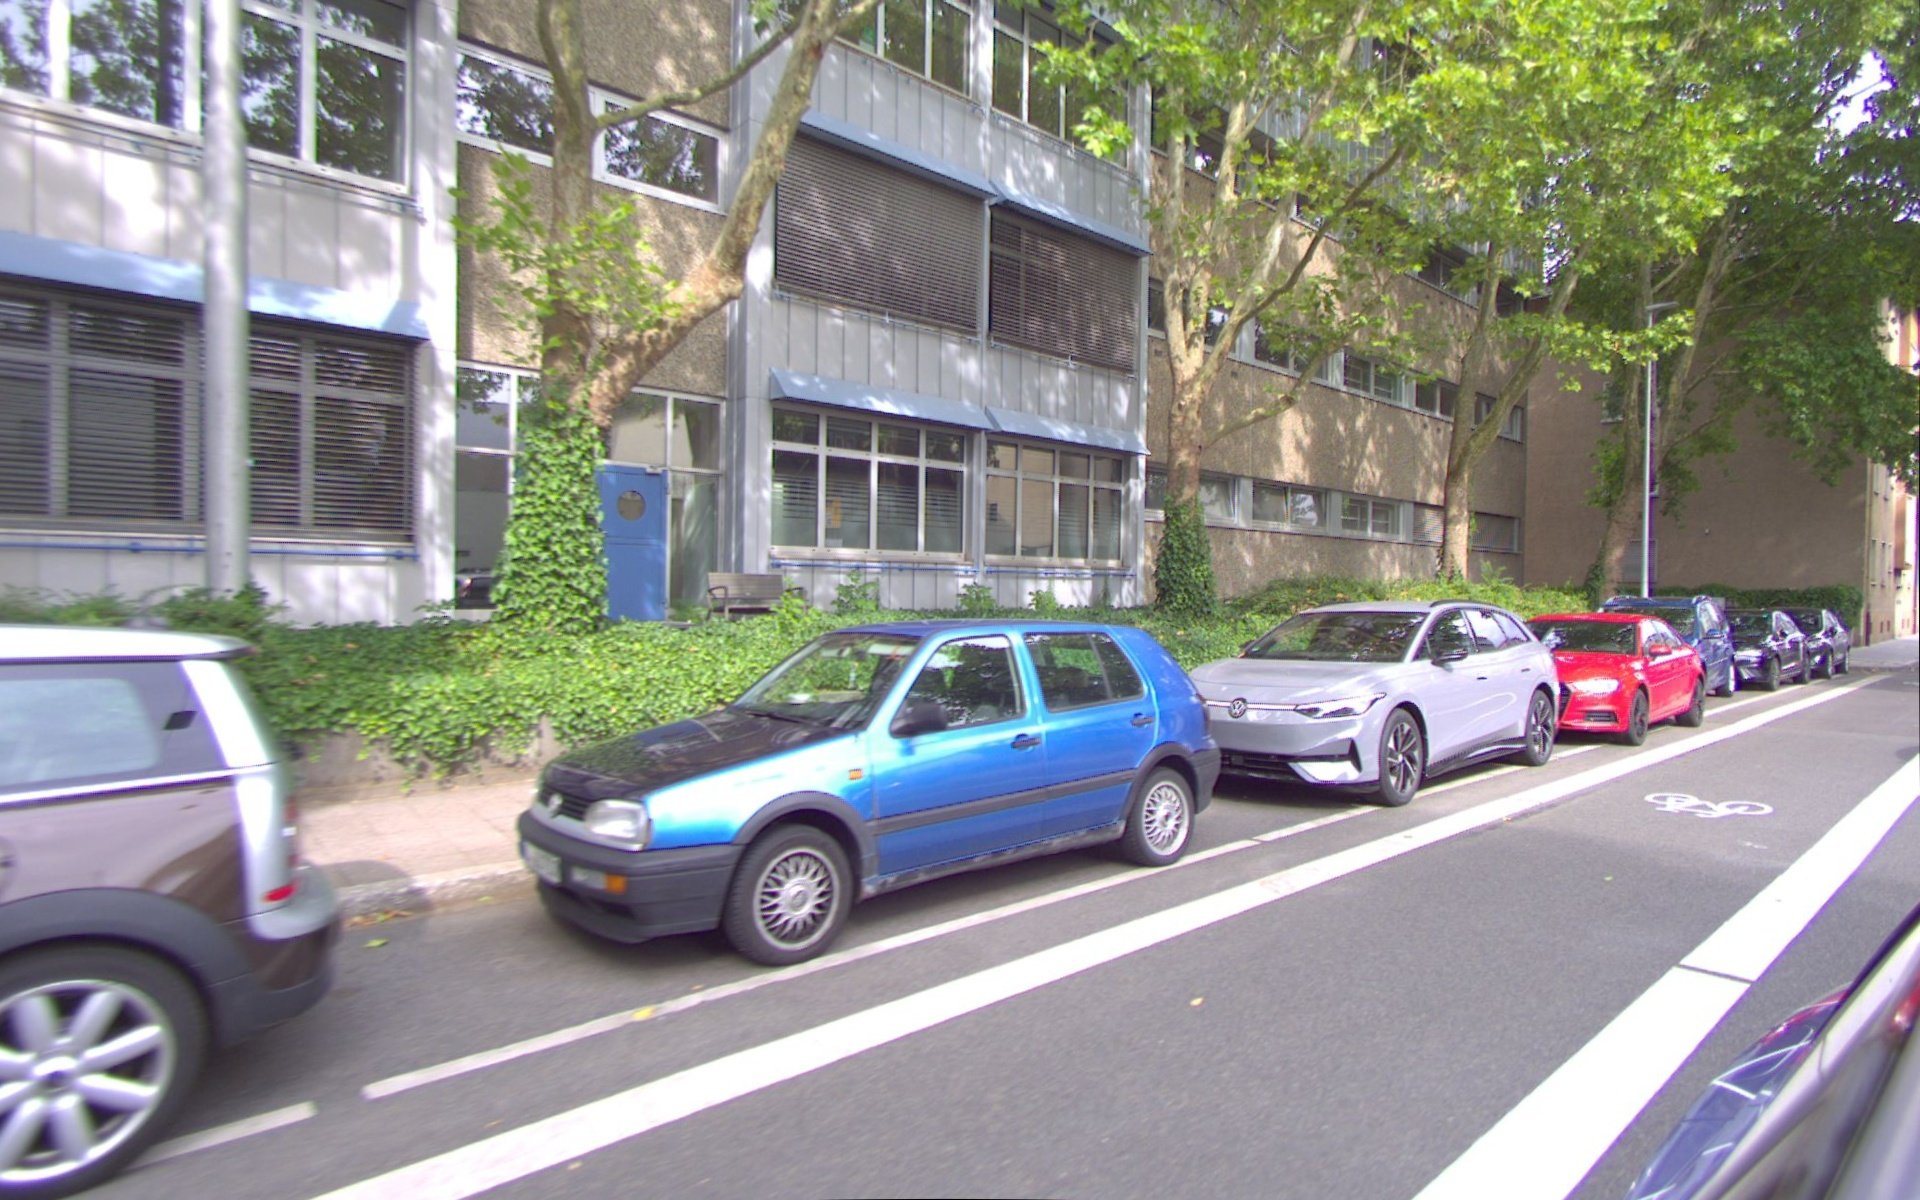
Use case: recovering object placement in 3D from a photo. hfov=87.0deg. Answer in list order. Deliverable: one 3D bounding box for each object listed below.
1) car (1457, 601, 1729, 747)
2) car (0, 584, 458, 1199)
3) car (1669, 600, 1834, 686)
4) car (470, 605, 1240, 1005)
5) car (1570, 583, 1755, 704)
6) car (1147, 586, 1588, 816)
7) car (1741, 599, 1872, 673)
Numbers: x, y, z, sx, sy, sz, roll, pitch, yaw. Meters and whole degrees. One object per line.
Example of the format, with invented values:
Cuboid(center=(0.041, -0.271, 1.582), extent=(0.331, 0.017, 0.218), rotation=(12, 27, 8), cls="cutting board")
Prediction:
Cuboid(center=(7.784, 0.747, 12.264), extent=(4.385, 1.411, 1.678), rotation=(0, 1, -42), cls="car")
Cuboid(center=(-3.659, 0.705, 2.303), extent=(4.244, 1.488, 1.632), rotation=(0, 1, -42), cls="car")
Cuboid(center=(14.938, 0.738, 19.040), extent=(3.876, 1.440, 1.661), rotation=(1, 0, -40), cls="car")
Cuboid(center=(-0.336, 0.746, 5.490), extent=(3.929, 1.404, 1.625), rotation=(0, -1, -40), cls="car")
Cuboid(center=(11.292, 0.606, 16.154), extent=(4.347, 1.671, 1.658), rotation=(0, 0, -45), cls="car")
Cuboid(center=(3.835, 0.678, 9.011), extent=(4.788, 1.536, 1.729), rotation=(0, -1, -42), cls="car")
Cuboid(center=(18.649, 0.748, 22.240), extent=(3.799, 1.440, 1.660), rotation=(1, 1, -42), cls="car")
